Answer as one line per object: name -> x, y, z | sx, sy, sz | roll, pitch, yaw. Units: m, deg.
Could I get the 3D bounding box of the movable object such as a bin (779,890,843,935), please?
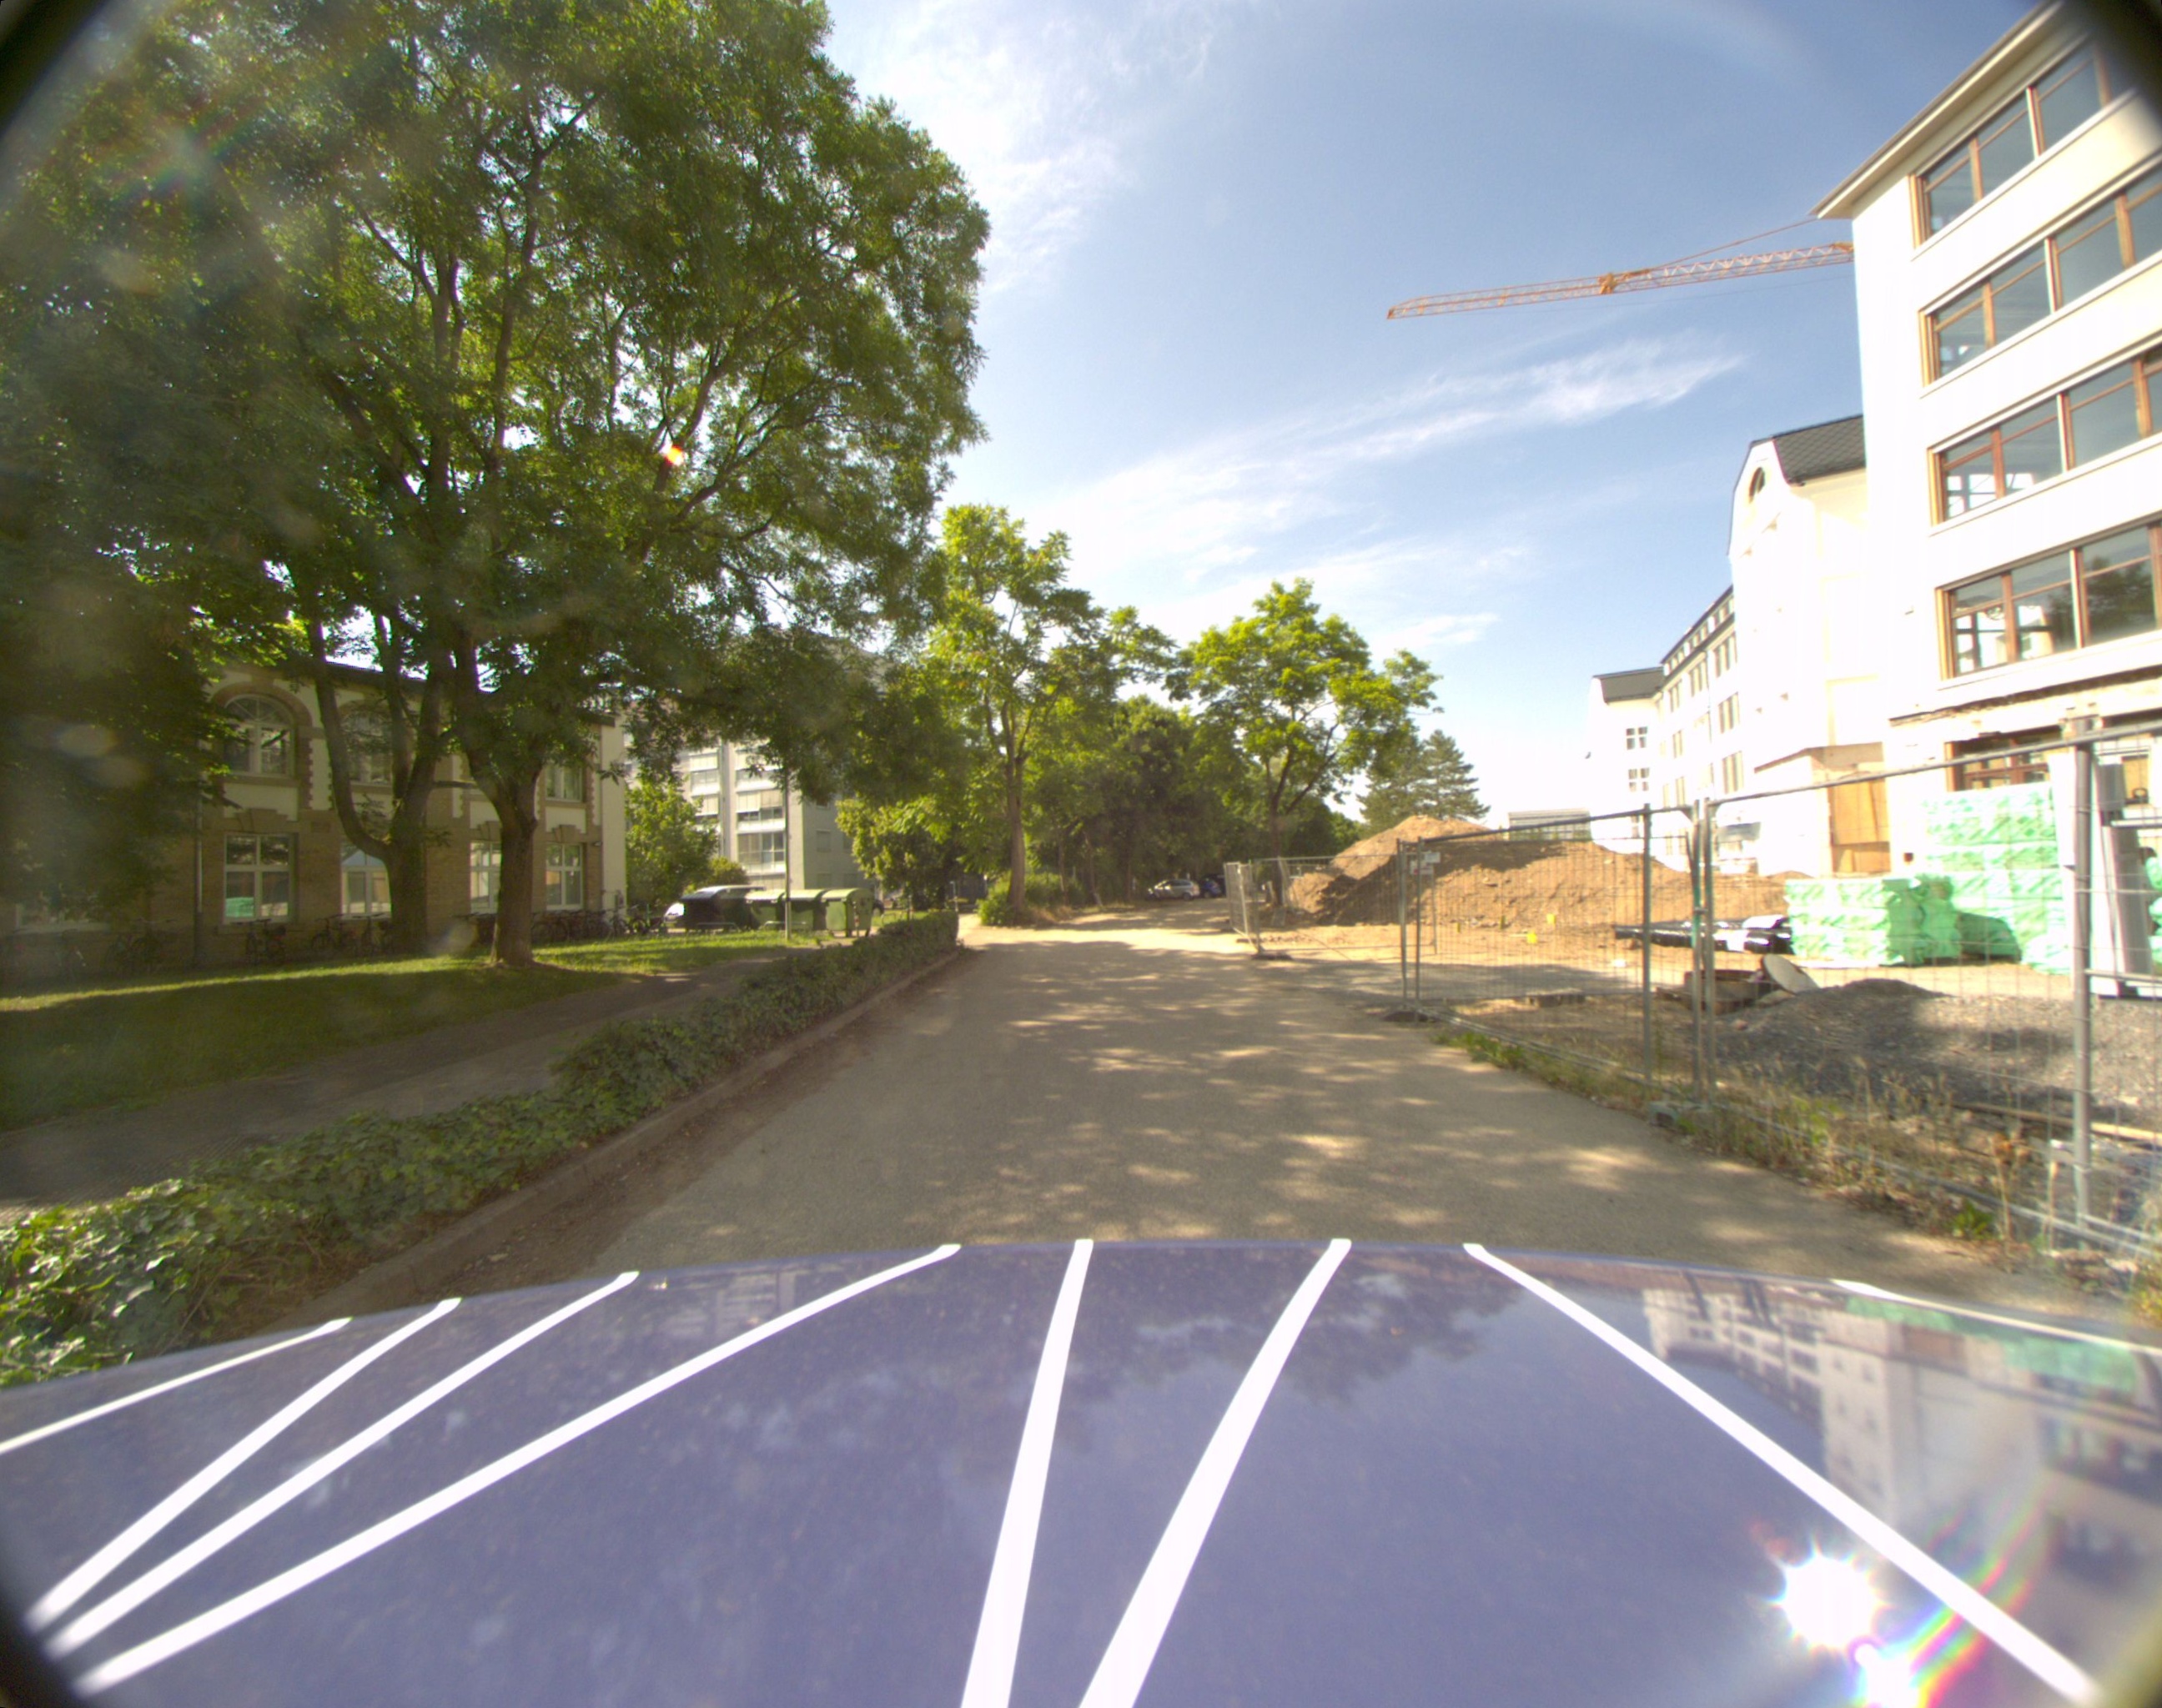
movable object such as a bin -> -8.242, 1.781, 23.212 | 1.352, 1.292, 1.217 | -2, -1, 21

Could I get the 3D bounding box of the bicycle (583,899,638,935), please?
bicycle -> -15.587, 2.086, 25.161 | 1.847, 1.154, 0.614 | -3, -1, 24

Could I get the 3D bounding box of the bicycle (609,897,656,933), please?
bicycle -> -15.179, 2.073, 25.688 | 1.800, 1.154, 0.508 | -3, -1, 29

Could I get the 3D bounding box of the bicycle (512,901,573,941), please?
bicycle -> -16.400, 2.034, 23.127 | 1.917, 1.154, 0.589 | -3, -1, 24

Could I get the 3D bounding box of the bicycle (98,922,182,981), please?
bicycle -> -19.912, 2.042, 16.069 | 2.097, 1.154, 0.589 | -3, -1, 24

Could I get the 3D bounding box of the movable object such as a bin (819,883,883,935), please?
movable object such as a bin -> -6.851, 1.629, 22.644 | 1.389, 1.454, 1.218 | -3, -1, 36

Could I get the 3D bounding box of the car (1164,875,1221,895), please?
car -> 8.624, 2.387, 58.772 | 3.991, 1.433, 2.003 | -2, -2, 19

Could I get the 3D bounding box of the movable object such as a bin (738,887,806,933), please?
movable object such as a bin -> -9.640, 1.738, 23.730 | 1.499, 1.353, 1.217 | -2, -1, 21

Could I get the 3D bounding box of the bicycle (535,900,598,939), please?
bicycle -> -16.154, 2.050, 23.839 | 2.097, 1.154, 0.589 | -3, -1, 24

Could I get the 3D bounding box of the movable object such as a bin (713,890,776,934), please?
movable object such as a bin -> -10.891, 1.866, 24.611 | 1.349, 1.341, 1.217 | -2, -1, 21

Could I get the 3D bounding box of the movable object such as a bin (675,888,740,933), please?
movable object such as a bin -> -12.365, 1.863, 25.157 | 1.433, 1.401, 1.252 | -2, -1, 20

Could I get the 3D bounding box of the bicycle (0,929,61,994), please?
bicycle -> -20.500, 2.044, 14.625 | 2.097, 1.154, 0.589 | -3, -1, 24

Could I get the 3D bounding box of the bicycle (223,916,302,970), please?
bicycle -> -19.078, 2.061, 17.701 | 2.097, 1.154, 0.589 | -3, -1, 24

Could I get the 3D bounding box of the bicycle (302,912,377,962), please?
bicycle -> -18.479, 2.057, 18.928 | 2.097, 1.154, 0.589 | -3, -1, 24

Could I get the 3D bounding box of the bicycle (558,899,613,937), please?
bicycle -> -15.898, 2.053, 24.354 | 1.909, 1.154, 0.495 | -3, -1, 24

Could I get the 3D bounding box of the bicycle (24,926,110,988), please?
bicycle -> -20.356, 2.042, 15.245 | 2.097, 1.154, 0.589 | -3, -1, 24

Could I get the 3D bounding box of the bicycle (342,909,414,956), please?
bicycle -> -18.192, 2.020, 19.651 | 2.097, 1.154, 0.589 | -3, -1, 24

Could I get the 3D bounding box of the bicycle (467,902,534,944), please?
bicycle -> -16.952, 2.011, 22.174 | 2.097, 1.154, 0.589 | -3, -1, 24

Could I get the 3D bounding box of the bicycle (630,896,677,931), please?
bicycle -> -14.709, 2.050, 26.127 | 1.940, 1.154, 0.558 | -3, -1, 34

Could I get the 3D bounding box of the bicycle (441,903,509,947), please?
bicycle -> -17.179, 2.010, 21.540 | 2.097, 1.154, 0.589 | -3, -1, 24

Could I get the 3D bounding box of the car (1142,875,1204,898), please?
car -> 6.526, 2.312, 53.857 | 3.991, 1.499, 2.003 | -2, -2, 19
